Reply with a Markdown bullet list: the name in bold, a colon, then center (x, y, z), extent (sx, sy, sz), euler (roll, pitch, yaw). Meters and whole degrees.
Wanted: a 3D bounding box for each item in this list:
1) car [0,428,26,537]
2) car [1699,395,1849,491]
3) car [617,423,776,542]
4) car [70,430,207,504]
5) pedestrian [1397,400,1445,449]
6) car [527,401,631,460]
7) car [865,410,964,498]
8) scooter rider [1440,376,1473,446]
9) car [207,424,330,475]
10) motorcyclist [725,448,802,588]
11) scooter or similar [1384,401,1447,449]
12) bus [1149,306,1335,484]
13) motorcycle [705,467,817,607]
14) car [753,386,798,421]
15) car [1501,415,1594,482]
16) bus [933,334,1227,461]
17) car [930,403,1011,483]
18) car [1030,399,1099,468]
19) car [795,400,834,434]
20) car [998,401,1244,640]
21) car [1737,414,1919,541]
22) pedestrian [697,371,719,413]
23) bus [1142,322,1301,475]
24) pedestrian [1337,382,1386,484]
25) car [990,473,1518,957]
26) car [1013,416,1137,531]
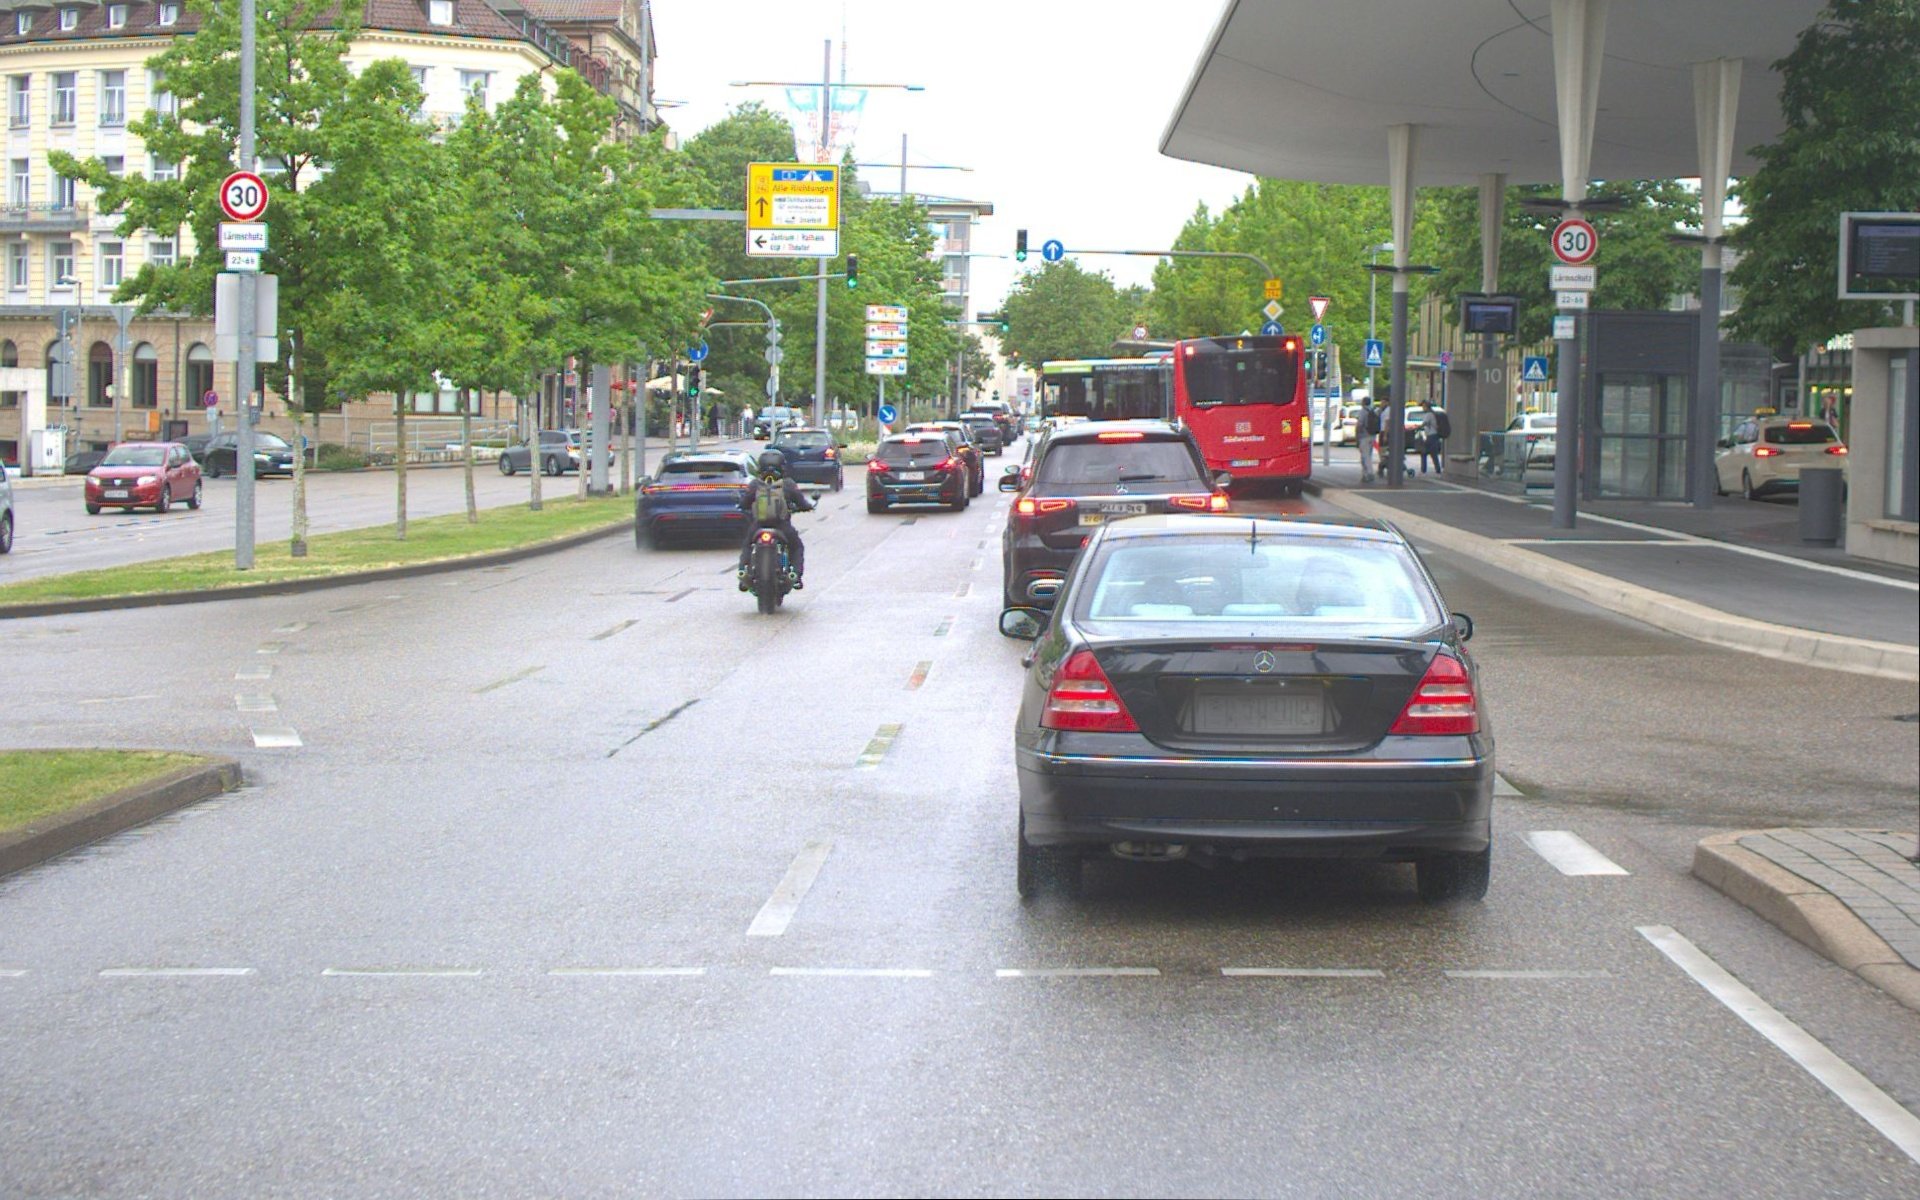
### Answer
- **car**: center (-15.492, -1.735, 51.208), extent (1.847, 1.646, 4.420), euler (0, 3, 1)
- **car**: center (14.688, -2.866, 62.254), extent (1.712, 1.656, 4.240), euler (1, 3, 1)
- **car**: center (-3.817, -1.763, 50.470), extent (1.816, 1.565, 4.404), euler (-2, 4, 2)
- **car**: center (-17.849, -2.913, 74.848), extent (1.823, 1.546, 4.033), euler (0, 3, 3)
- **pedestrian**: center (9.836, -3.737, 73.334), extent (0.914, 0.981, 0.633), euler (2, -1, 16)
- **car**: center (-11.773, -5.206, 106.054), extent (1.865, 1.678, 4.001), euler (3, 1, -26)
- **car**: center (-0.815, -2.724, 63.732), extent (1.575, 1.499, 3.871), euler (-2, 4, 2)
- **scooter rider**: center (10.587, -4.018, 73.269), extent (0.592, 1.484, 0.764), euler (1, 3, 15)
- **car**: center (-21.405, -4.673, 106.354), extent (1.681, 1.522, 4.638), euler (-3, 4, -40)
- **motorcyclist**: center (-1.917, -0.805, 33.559), extent (0.641, 1.342, 0.689), euler (0, 3, 5)
- **scooter or similar**: center (9.746, -3.746, 73.506), extent (1.244, 1.009, 0.764), euler (1, 3, 16)
- **bus**: center (5.576, -4.166, 69.866), extent (3.286, 3.280, 10.879), euler (-1, 3, 2)
- **motorcycle**: center (-1.916, -0.627, 33.390), extent (0.793, 1.257, 1.855), euler (-1, 3, 5)
- **car**: center (-8.608, -9.180, 160.637), extent (1.780, 1.561, 3.430), euler (-2, 3, 2)
- **car**: center (15.379, -3.990, 90.192), extent (1.712, 1.656, 4.240), euler (1, 3, 1)
- **bus**: center (3.801, -6.657, 113.729), extent (2.838, 3.973, 11.862), euler (-2, 4, -37)
- **car**: center (0.245, -3.334, 72.328), extent (1.575, 1.561, 3.872), euler (-2, 4, 2)
- **car**: center (2.540, -4.089, 83.911), extent (1.575, 1.561, 3.872), euler (-2, 4, 2)
- **car**: center (-7.060, -8.888, 166.841), extent (1.575, 1.561, 3.430), euler (-2, 3, 2)
- **car**: center (1.385, -0.790, 30.604), extent (1.957, 1.869, 4.874), euler (-2, 4, 2)
- **car**: center (10.683, -1.522, 41.927), extent (1.647, 1.448, 3.238), euler (0, 4, 0)
- **pedestrian**: center (-11.948, -9.868, 162.983), extent (0.724, 1.958, 0.826), euler (-2, 4, -25)
- **bus**: center (5.917, -4.649, 79.138), extent (3.291, 3.277, 8.850), euler (-1, 3, 2)
- **pedestrian**: center (8.146, -3.389, 69.679), extent (0.778, 2.006, 0.781), euler (4, 3, 14)
- **car**: center (0.987, 0.303, 13.453), extent (1.697, 1.457, 4.304), euler (-1, 3, 0)
- **car**: center (1.706, -1.928, 51.567), extent (1.741, 1.561, 3.872), euler (-2, 4, 2)
